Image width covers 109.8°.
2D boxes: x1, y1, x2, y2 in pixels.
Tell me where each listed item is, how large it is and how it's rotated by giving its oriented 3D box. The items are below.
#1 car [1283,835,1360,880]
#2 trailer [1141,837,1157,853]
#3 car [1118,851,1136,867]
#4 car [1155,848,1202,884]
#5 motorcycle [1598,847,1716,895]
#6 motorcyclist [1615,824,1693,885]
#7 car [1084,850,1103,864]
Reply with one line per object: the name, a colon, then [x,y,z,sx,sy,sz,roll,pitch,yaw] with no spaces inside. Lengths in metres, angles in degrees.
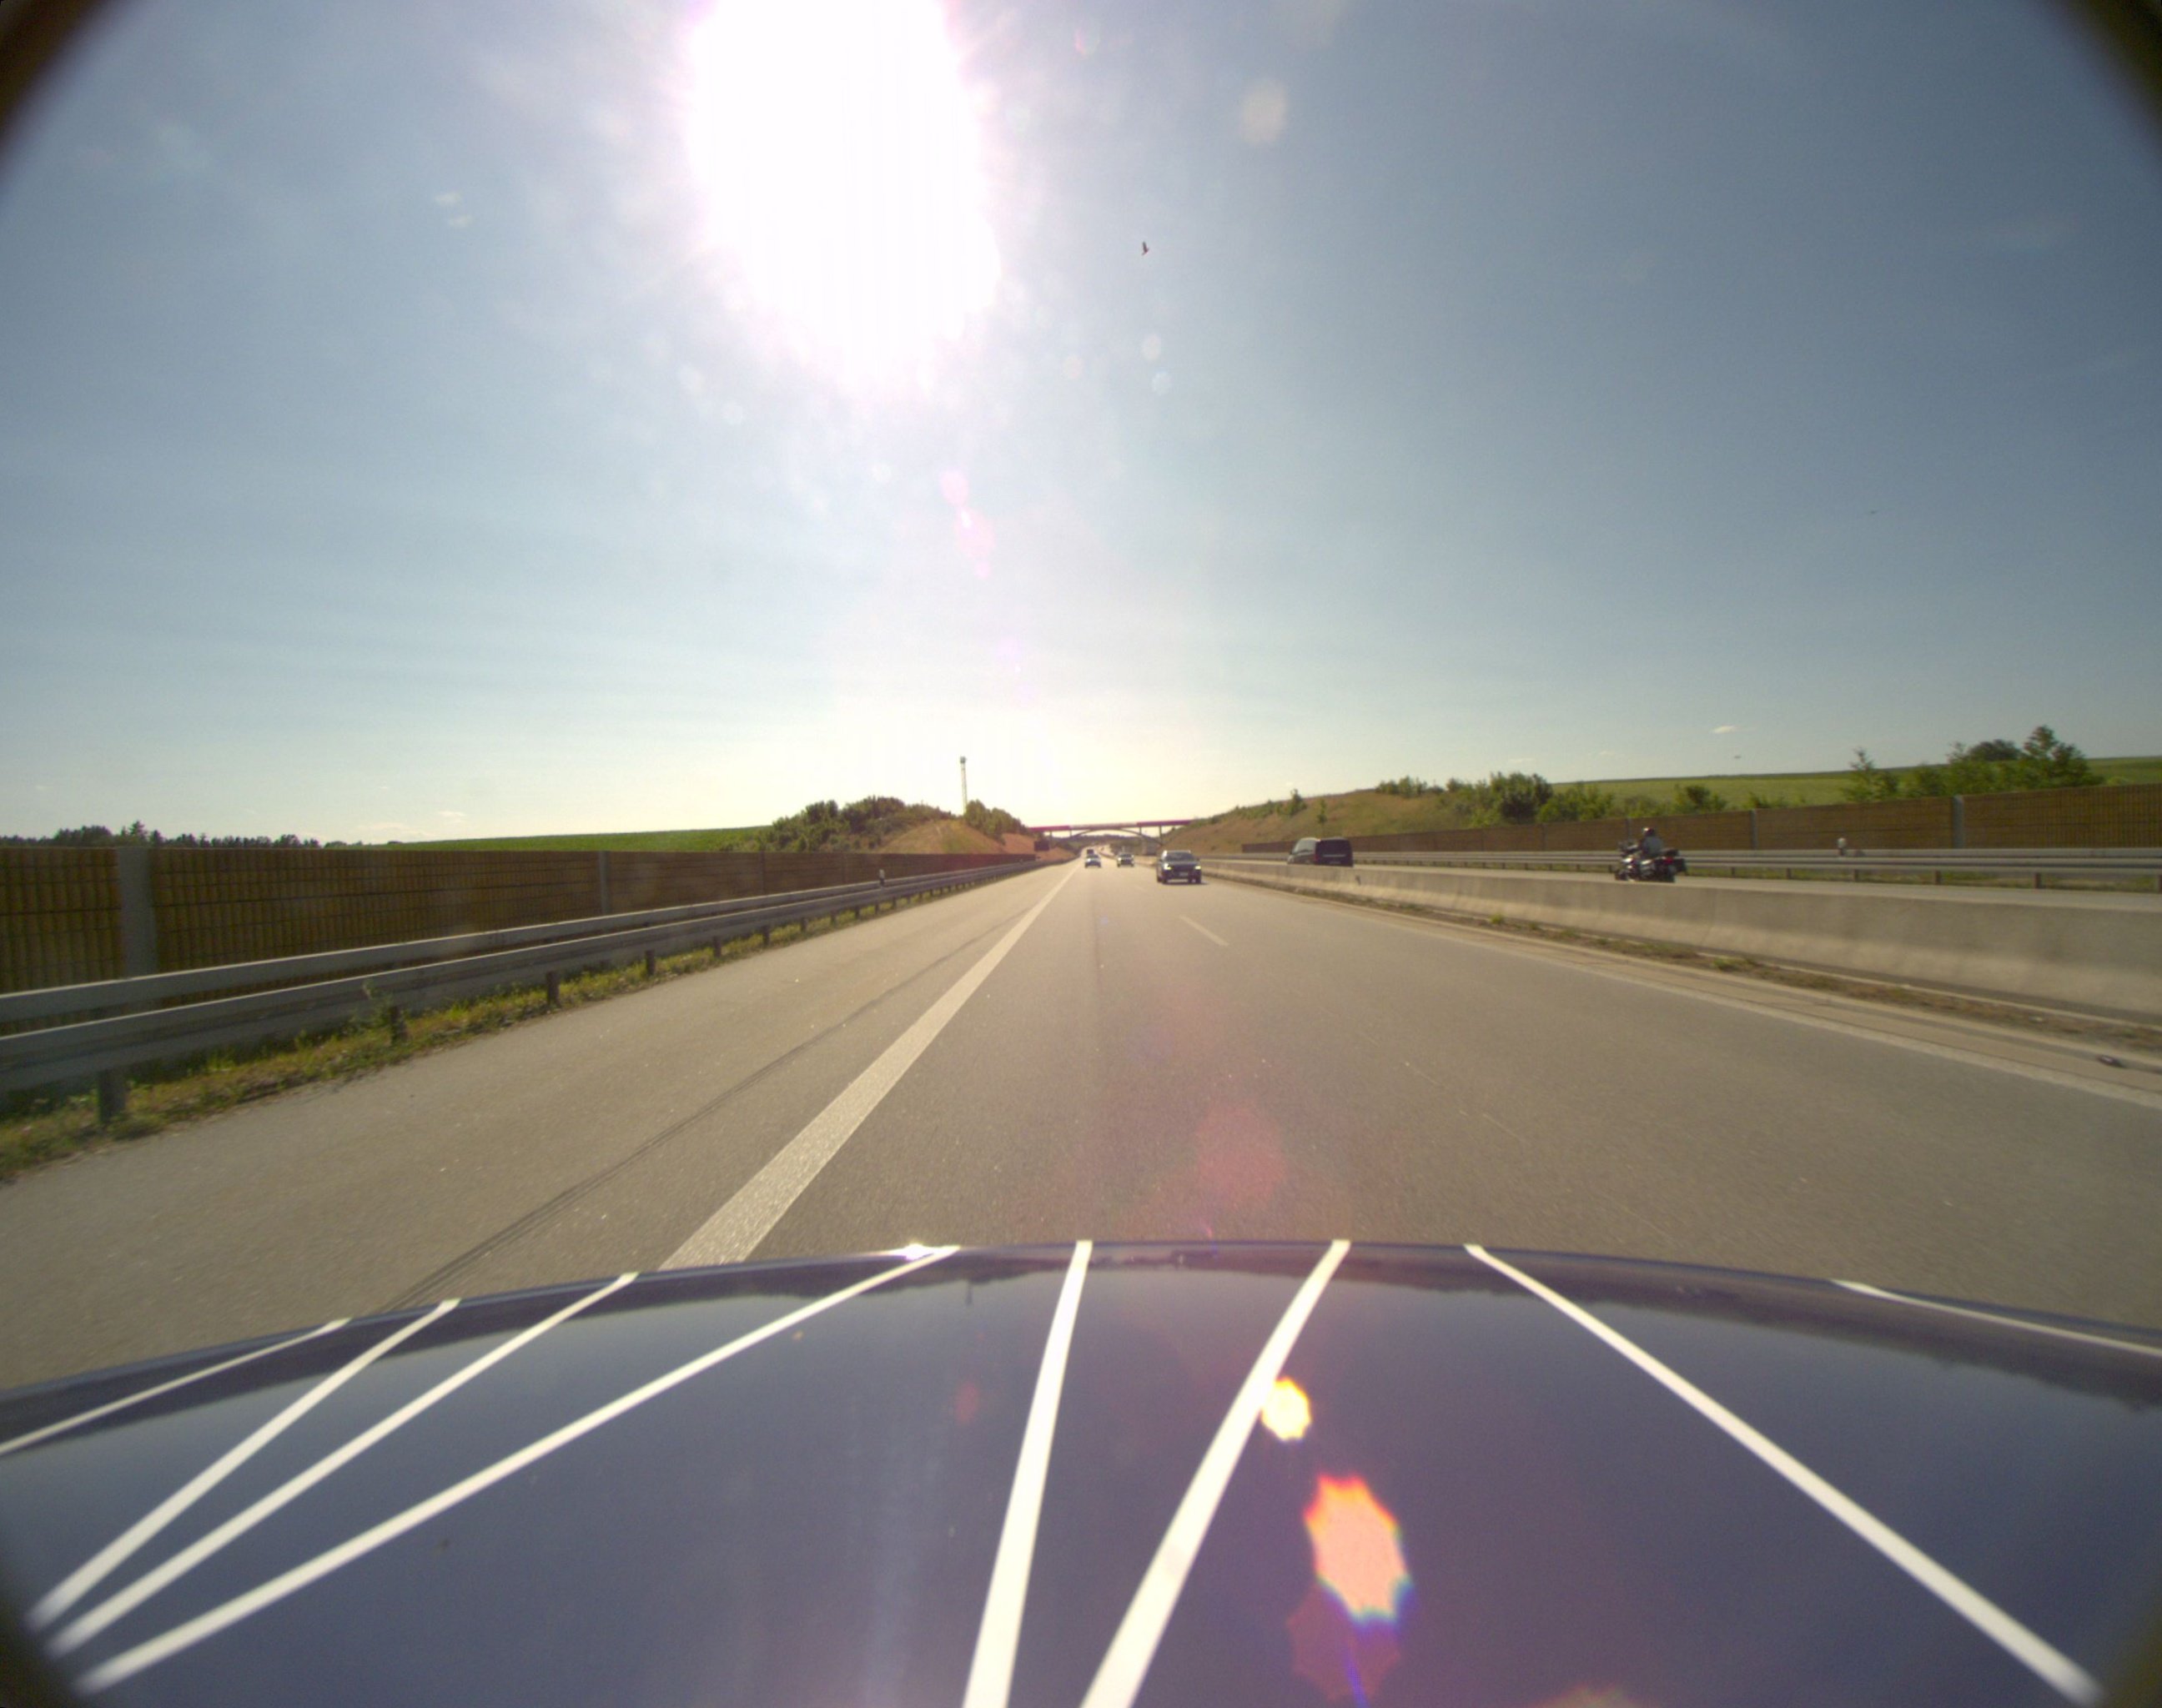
car: [11.668,0.122,37.254,1.998,2.002,5.737,-2,1,1]
trailer: [17.245,-2.396,193.073,2.645,3.853,13.733,-2,1,0]
car: [5.144,0.518,85.054,1.776,1.560,4.988,-2,1,1]
car: [4.771,0.519,37.933,1.726,1.578,5.221,-2,1,1]
motorcycle: [15.398,0.412,20.457,1.015,1.160,2.868,-2,0,1]
motorcyclist: [15.379,0.003,20.453,1.015,1.555,1.428,-2,1,1]
car: [1.402,0.288,84.022,1.909,1.449,4.375,-2,1,2]
